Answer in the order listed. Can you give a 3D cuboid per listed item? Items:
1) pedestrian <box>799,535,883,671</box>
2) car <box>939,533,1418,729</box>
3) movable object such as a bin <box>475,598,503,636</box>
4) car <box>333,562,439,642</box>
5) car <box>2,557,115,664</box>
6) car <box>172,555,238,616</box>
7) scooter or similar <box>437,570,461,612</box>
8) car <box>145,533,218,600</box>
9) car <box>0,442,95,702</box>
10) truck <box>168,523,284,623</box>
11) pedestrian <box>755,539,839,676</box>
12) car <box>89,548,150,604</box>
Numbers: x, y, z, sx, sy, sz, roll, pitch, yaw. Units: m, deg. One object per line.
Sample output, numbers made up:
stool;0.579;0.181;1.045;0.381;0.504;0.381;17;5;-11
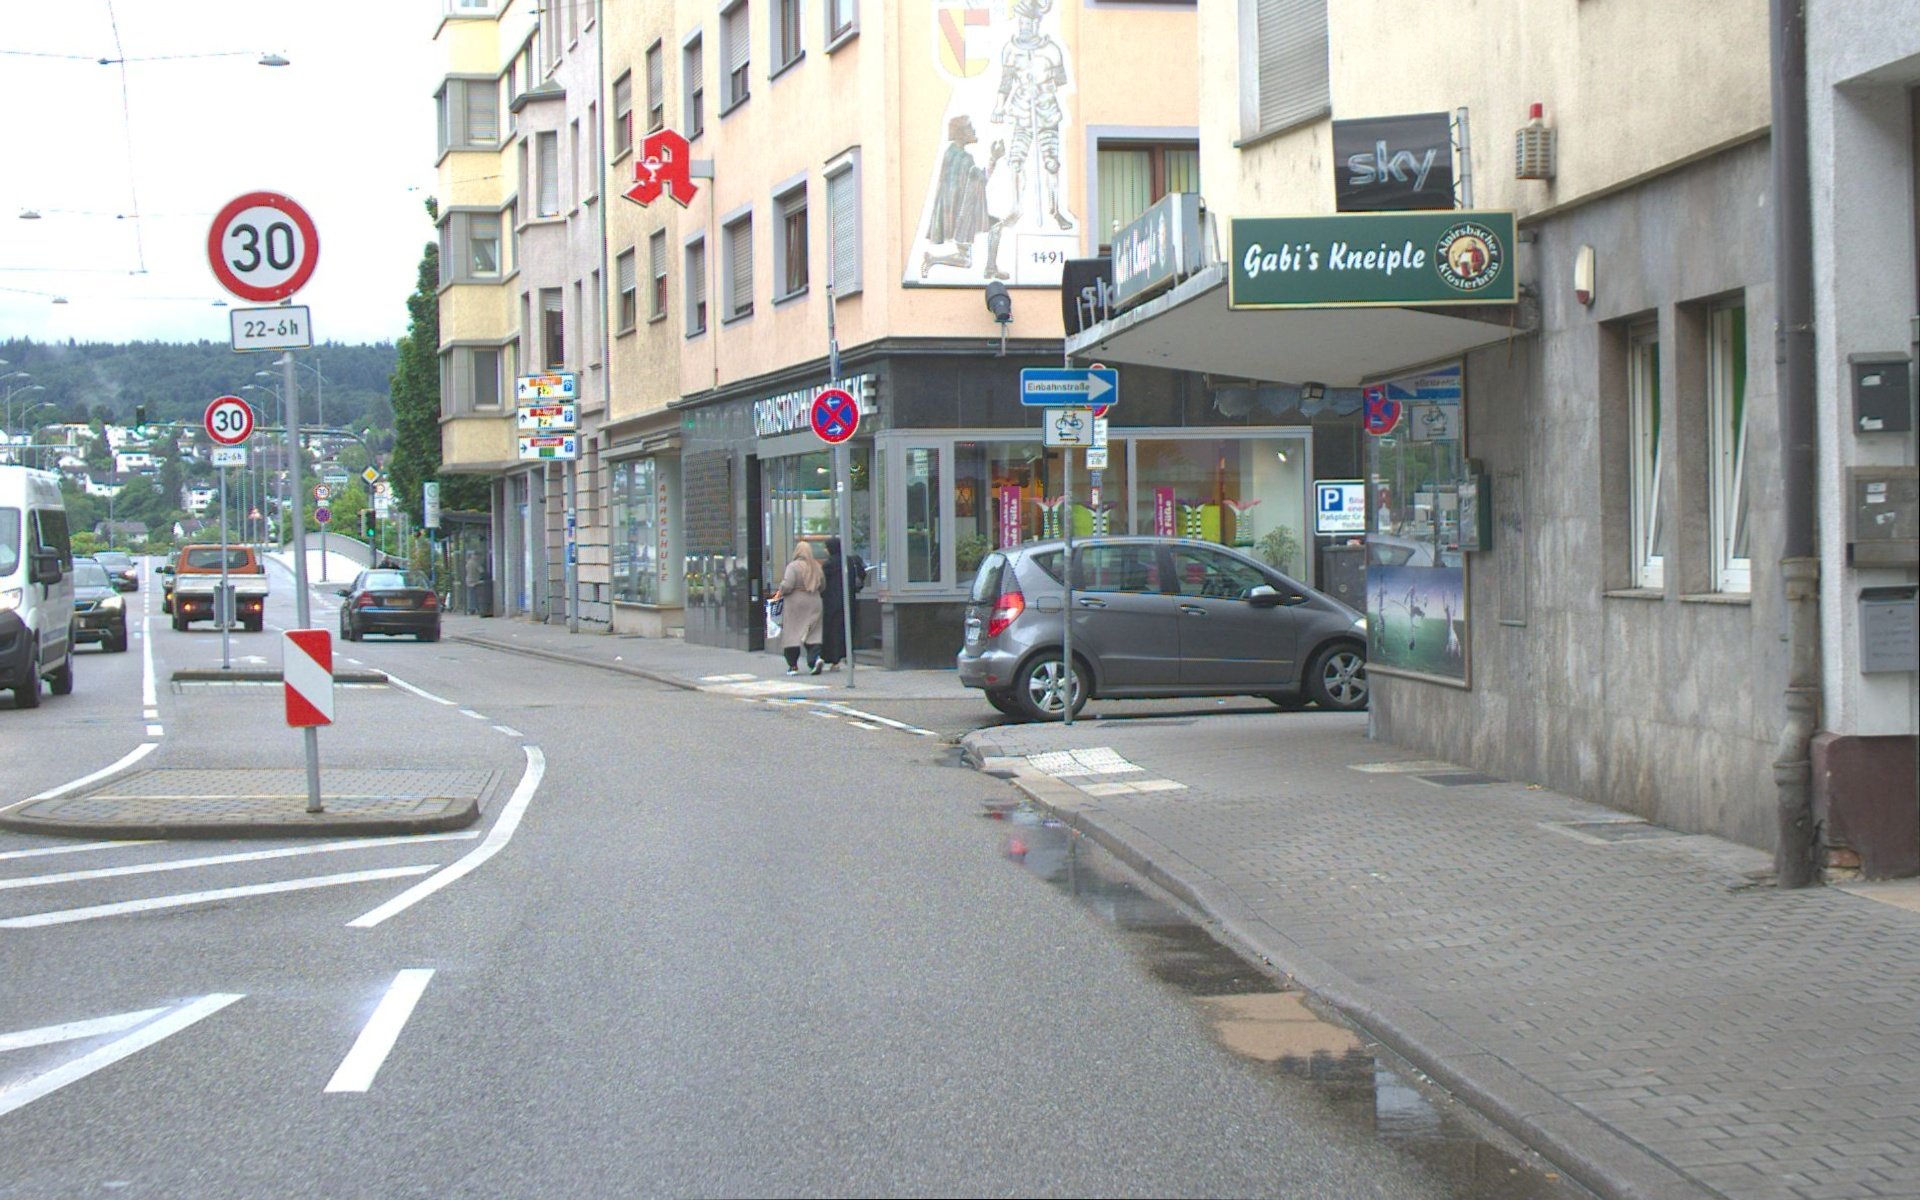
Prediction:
pedestrian;-1.399;0.034;40.369;0.768;1.554;0.876;-1;0;-15
car;1.883;0.254;30.335;3.824;1.568;1.937;-1;0;-11
movable object such as a bin;-11.782;0.423;86.042;0.600;0.923;0.705;-1;0;-13
car;-11.084;0.040;66.263;1.753;1.474;4.001;0;0;-13
car;-15.280;0.142;58.307;1.742;1.656;4.419;-2;2;-14
car;-21.568;-0.412;98.155;1.753;1.646;4.001;-1;0;-13
scooter or similar;-14.643;-0.259;98.457;0.511;1.168;1.549;-1;0;-13
car;-24.547;-1.037;108.291;1.993;2.007;4.001;-1;0;-16
car;-10.277;-0.250;35.238;2.086;2.427;6.354;-1;0;-9
truck;-16.620;-0.589;77.662;2.399;2.122;5.316;-1;0;-13
pedestrian;-1.893;0.084;39.849;0.778;1.554;0.783;-1;0;-15
car;-31.317;-0.873;128.039;1.993;2.007;4.001;-1;0;-16
